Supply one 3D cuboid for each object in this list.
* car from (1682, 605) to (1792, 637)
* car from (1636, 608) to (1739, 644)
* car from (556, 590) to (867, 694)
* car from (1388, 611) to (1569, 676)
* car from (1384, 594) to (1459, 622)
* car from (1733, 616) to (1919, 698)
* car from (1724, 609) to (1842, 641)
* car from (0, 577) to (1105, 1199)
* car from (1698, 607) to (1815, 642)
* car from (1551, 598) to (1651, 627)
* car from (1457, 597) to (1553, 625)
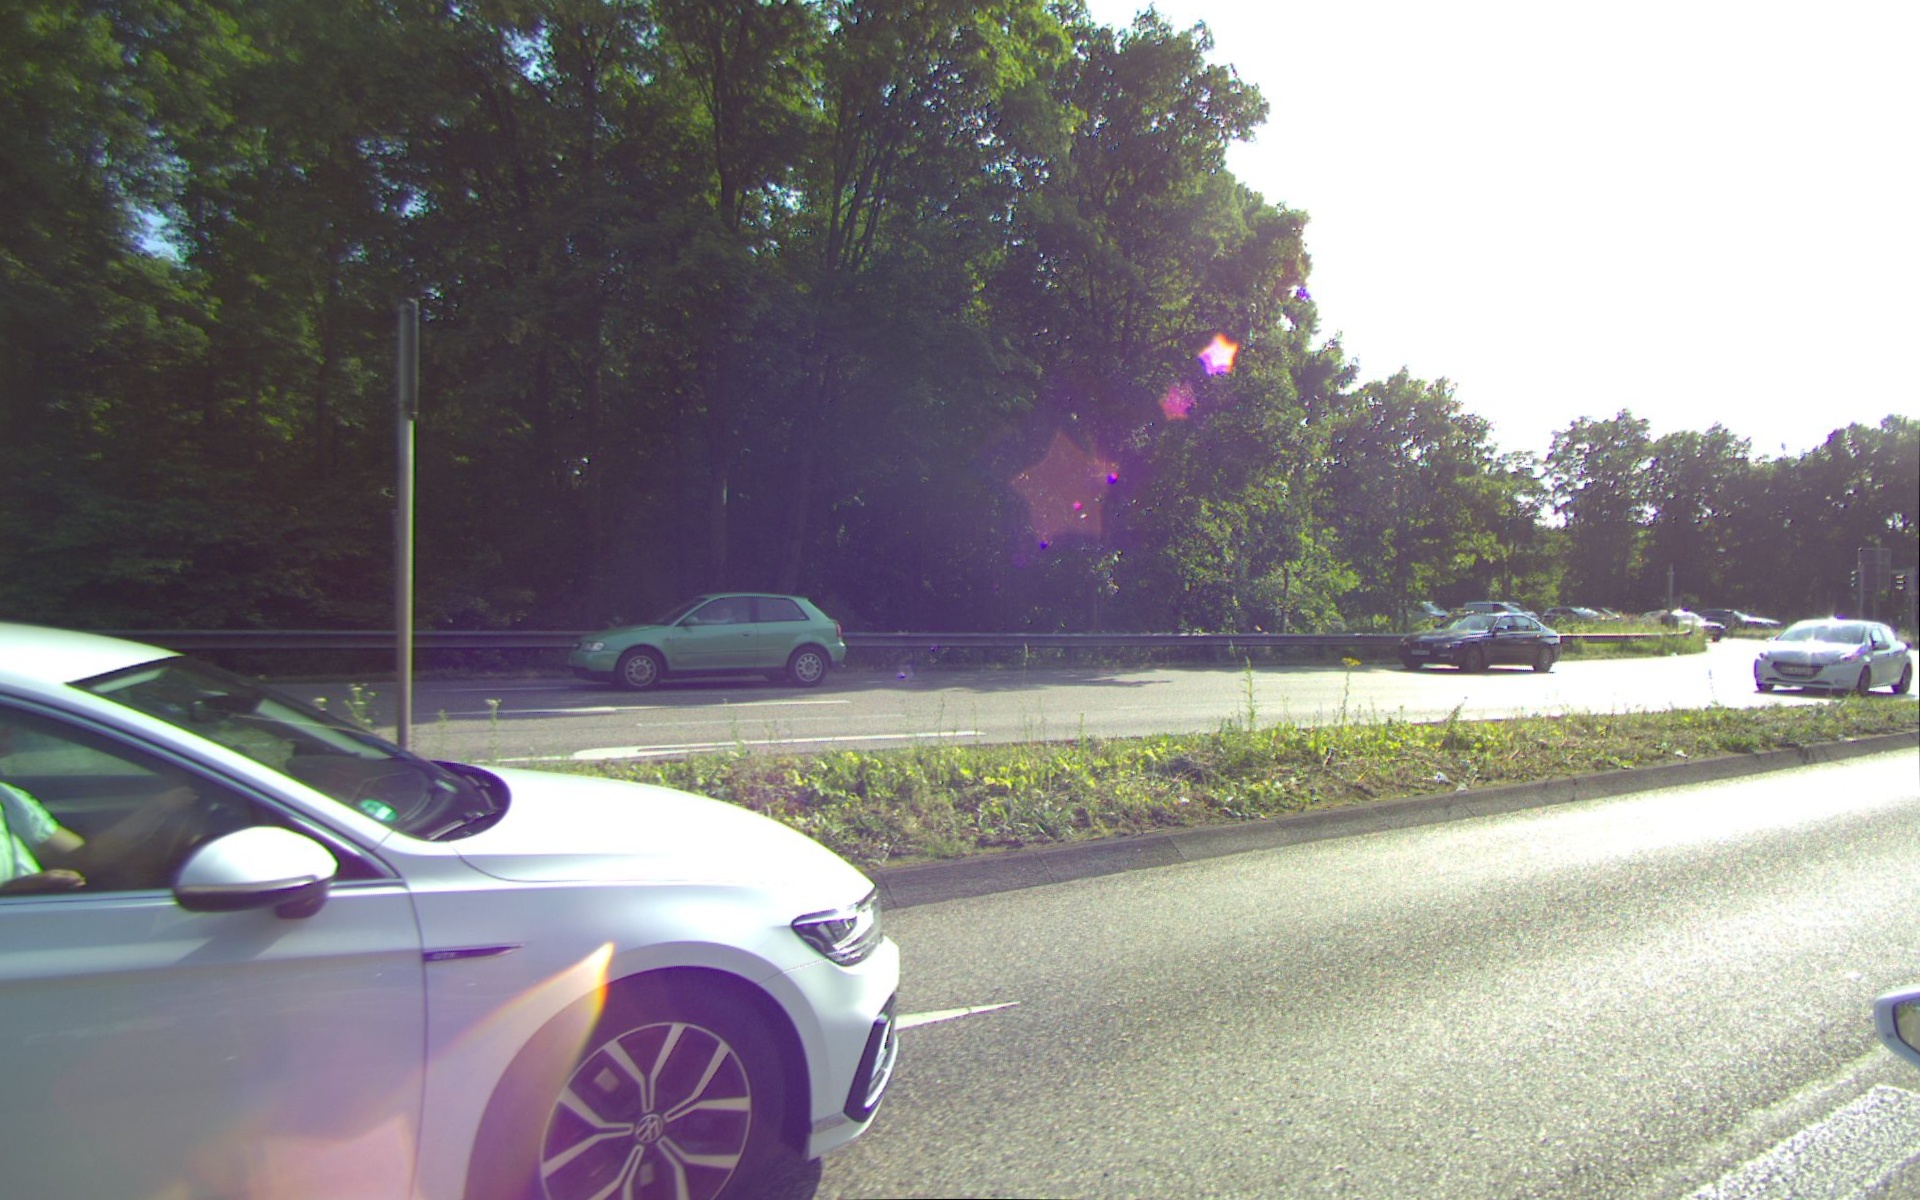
[{"bbox_3d":[43.150,1.140,55.889,1.978,1.510,4.383,1,2,-32],"label":"car"},{"bbox_3d":[37.107,1.300,51.412,1.960,1.510,4.561,2,2,1],"label":"car"},{"bbox_3d":[-3.751,0.594,15.330,4.320,1.396,1.731,1,0,-28],"label":"car"},{"bbox_3d":[12.837,1.029,24.786,4.699,1.425,1.779,1,1,-31],"label":"car"},{"bbox_3d":[32.766,0.557,71.511,2.160,1.750,4.628,1,2,-22],"label":"car"},{"bbox_3d":[17.812,1.098,20.498,4.178,1.430,1.779,1,2,-31],"label":"car"},{"bbox_3d":[46.140,1.366,56.419,2.144,1.510,4.683,1,2,-32],"label":"car"},{"bbox_3d":[-2.151,0.751,2.346,4.776,1.542,1.861,1,2,-30],"label":"car"},{"bbox_3d":[41.541,1.241,52.509,1.970,1.510,4.399,1,2,-21],"label":"car"},{"bbox_3d":[40.163,0.766,63.075,2.176,1.510,4.961,1,2,-22],"label":"car"},{"bbox_3d":[35.142,0.701,64.973,2.411,1.510,5.044,1,2,-22],"label":"car"}]
